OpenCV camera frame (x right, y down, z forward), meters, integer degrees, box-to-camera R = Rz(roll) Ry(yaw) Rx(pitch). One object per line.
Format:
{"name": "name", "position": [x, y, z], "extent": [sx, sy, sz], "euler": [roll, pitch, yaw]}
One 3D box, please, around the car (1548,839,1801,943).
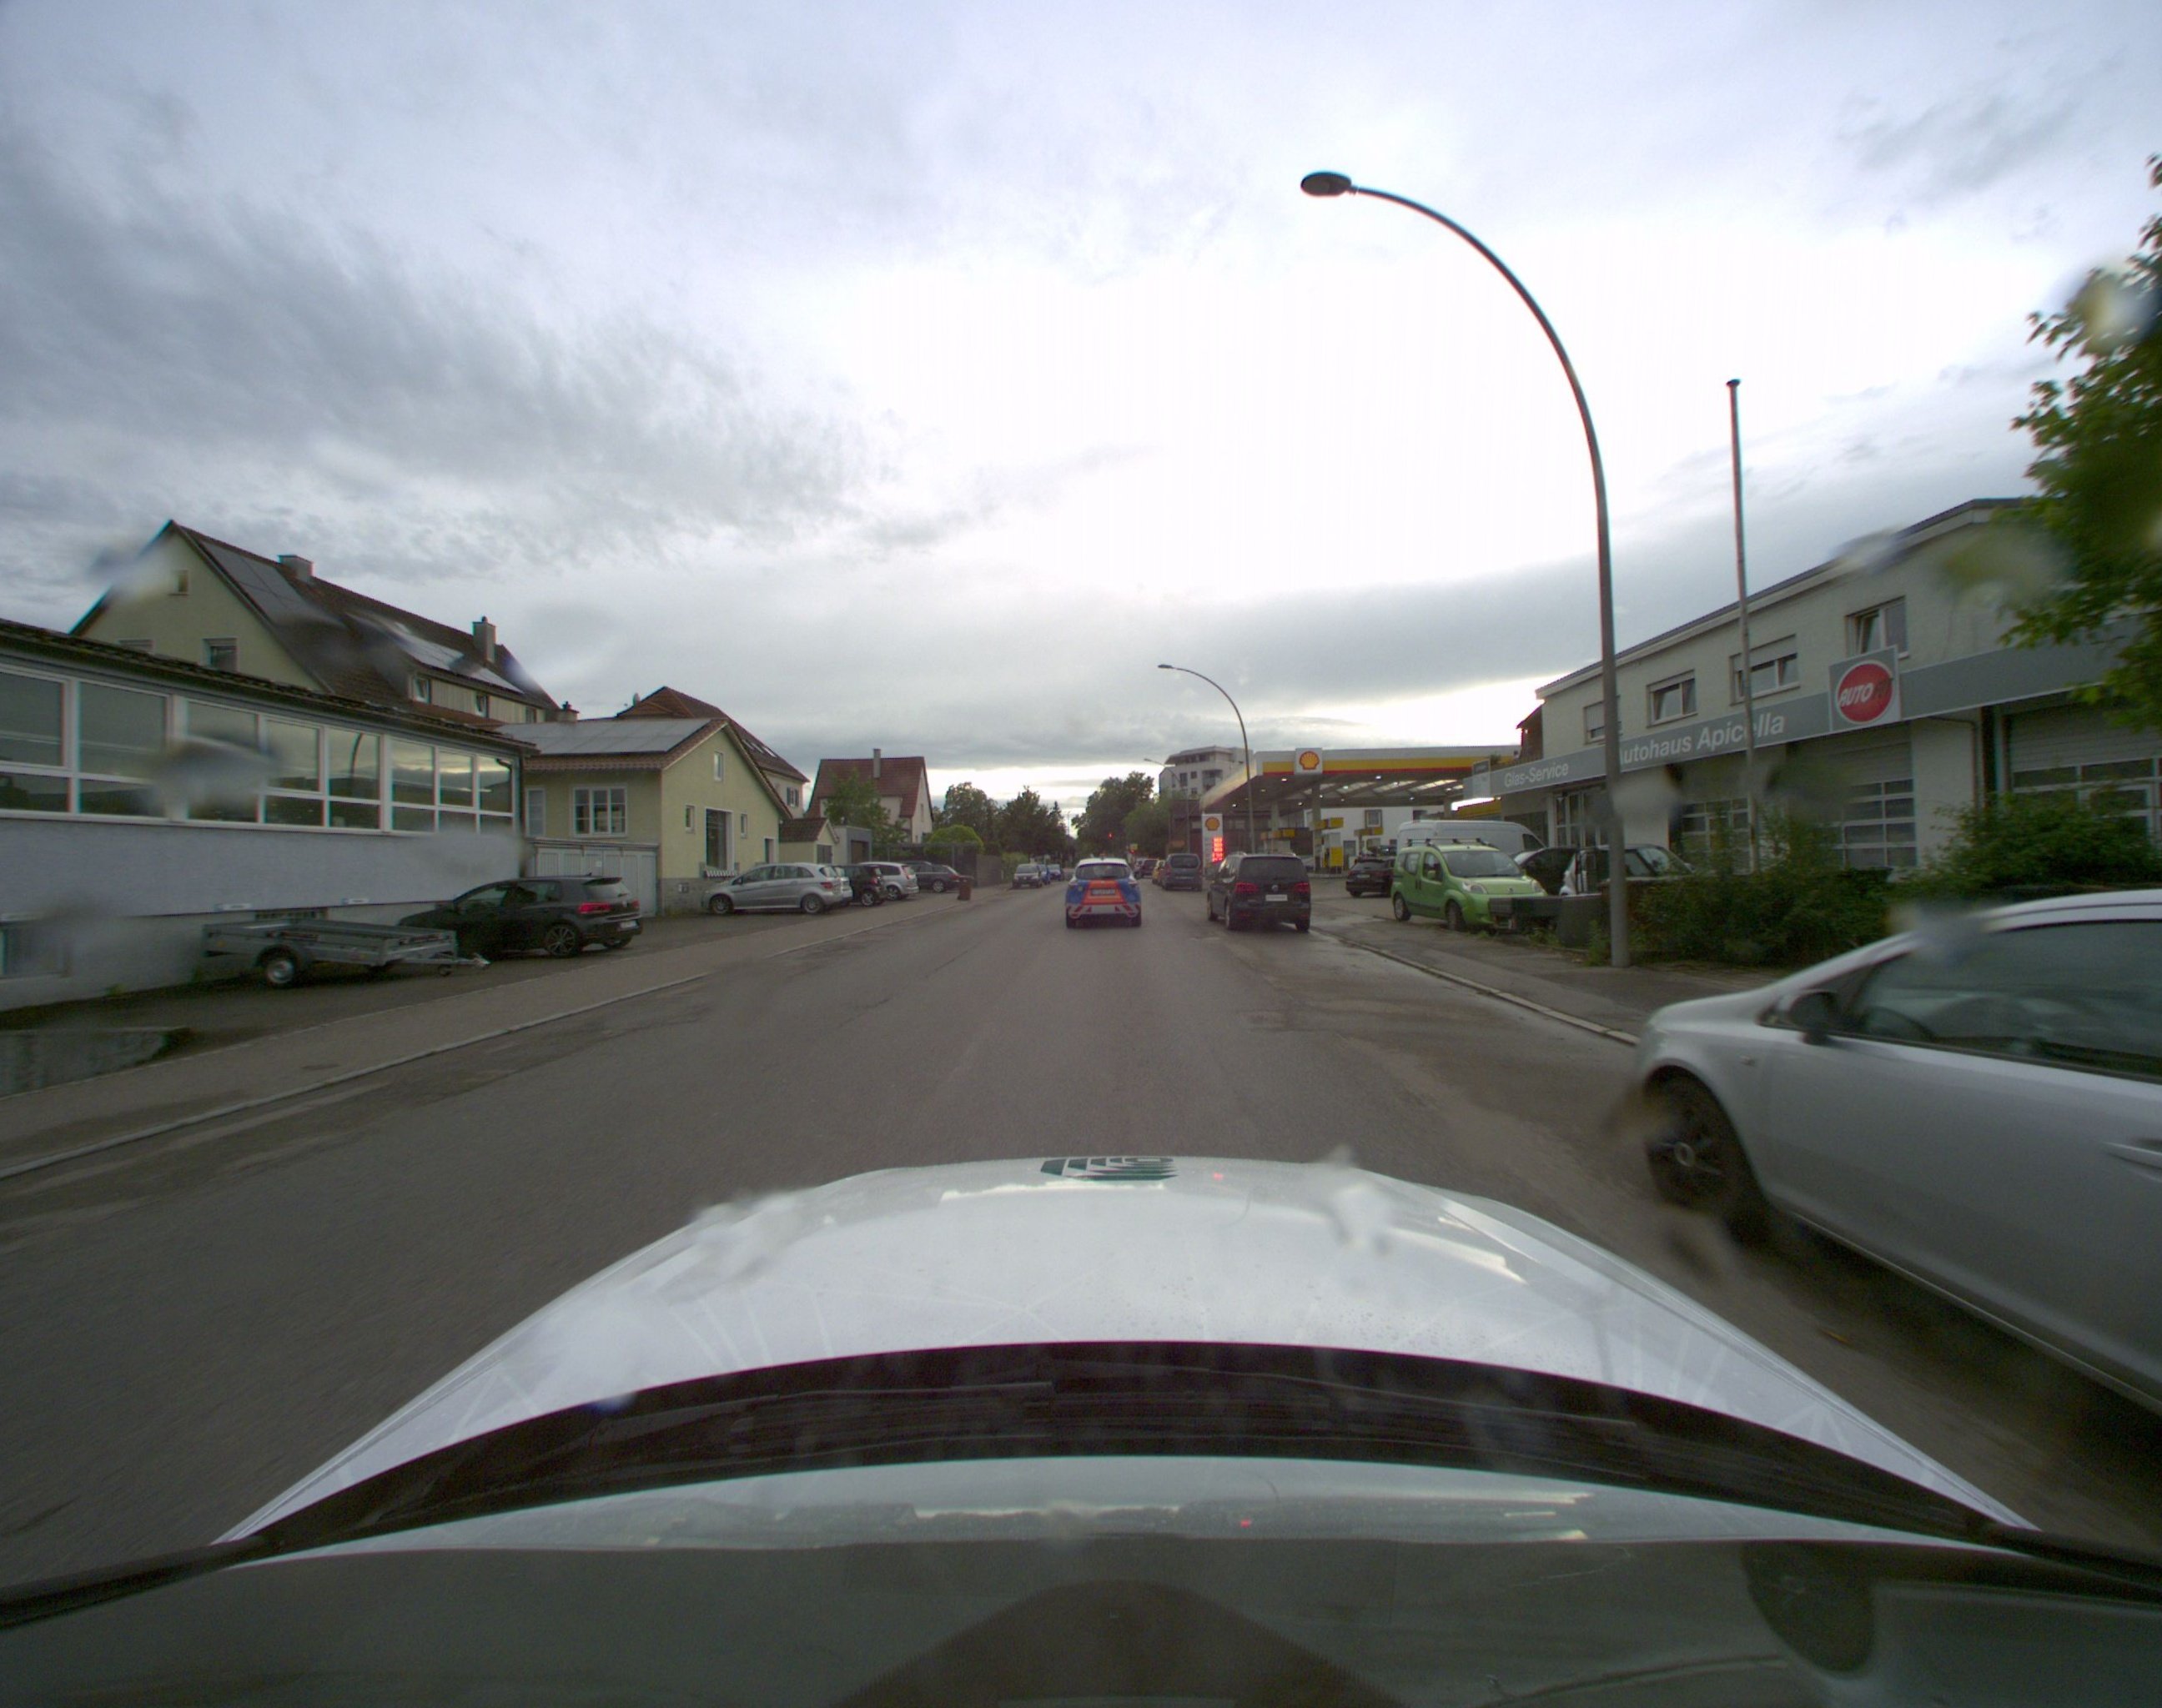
{"name": "car", "position": [10.524, 0.594, 14.828], "extent": [1.742, 1.519, 3.729], "euler": [-4, 0, -2]}

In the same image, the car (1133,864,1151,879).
{"name": "car", "position": [6.974, 1.954, 92.863], "extent": [1.858, 1.665, 4.322], "euler": [-1, -1, 2]}

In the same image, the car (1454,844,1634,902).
{"name": "car", "position": [13.703, 0.543, 24.288], "extent": [4.289, 1.573, 1.896], "euler": [-1, -1, -2]}

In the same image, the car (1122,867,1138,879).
{"name": "car", "position": [6.442, 2.502, 106.520], "extent": [1.789, 1.428, 3.998], "euler": [0, 0, -1]}

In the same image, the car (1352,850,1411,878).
{"name": "car", "position": [16.994, 0.559, 46.264], "extent": [1.733, 1.466, 4.675], "euler": [-1, -1, 2]}

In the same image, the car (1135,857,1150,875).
{"name": "car", "position": [7.465, 1.430, 99.050], "extent": [1.769, 2.029, 4.760], "euler": [0, 0, 5]}

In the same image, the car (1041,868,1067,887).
{"name": "car", "position": [-2.258, 1.980, 69.165], "extent": [1.799, 1.403, 3.947], "euler": [-3, -1, 2]}

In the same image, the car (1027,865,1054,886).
{"name": "car", "position": [-2.874, 1.554, 58.792], "extent": [1.539, 1.403, 3.599], "euler": [-3, -1, 2]}

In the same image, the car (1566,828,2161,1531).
{"name": "car", "position": [3.213, 0.704, 2.190], "extent": [1.730, 1.502, 3.885], "euler": [0, 0, 4]}

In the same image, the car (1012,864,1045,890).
{"name": "car", "position": [-3.235, 1.401, 50.801], "extent": [1.602, 1.506, 3.709], "euler": [-3, -1, 2]}

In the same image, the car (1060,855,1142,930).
{"name": "car", "position": [0.528, 0.856, 19.787], "extent": [1.739, 1.581, 4.002], "euler": [-2, 0, 2]}

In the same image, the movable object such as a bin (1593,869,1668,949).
{"name": "movable object such as a bin", "position": [7.759, 0.759, 11.518], "extent": [0.572, 1.075, 0.682], "euler": [-2, -1, 1]}

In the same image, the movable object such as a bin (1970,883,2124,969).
{"name": "movable object such as a bin", "position": [11.069, 0.807, 9.361], "extent": [0.855, 0.928, 0.759], "euler": [0, -1, 1]}

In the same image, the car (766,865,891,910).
{"name": "car", "position": [-9.246, 1.214, 30.078], "extent": [4.075, 1.503, 1.754], "euler": [-1, -1, -4]}

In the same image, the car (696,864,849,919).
{"name": "car", "position": [-9.664, 1.150, 25.830], "extent": [4.075, 1.533, 1.997], "euler": [-1, -1, -4]}

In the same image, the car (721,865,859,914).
{"name": "car", "position": [-9.959, 1.191, 28.103], "extent": [4.073, 1.533, 1.812], "euler": [-1, -1, -2]}

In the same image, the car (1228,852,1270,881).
{"name": "car", "position": [10.782, 0.820, 52.421], "extent": [1.814, 1.759, 3.999], "euler": [-2, -1, 0]}

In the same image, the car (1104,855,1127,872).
{"name": "car", "position": [3.194, 0.856, 74.707], "extent": [1.984, 1.574, 4.006], "euler": [0, 0, 5]}

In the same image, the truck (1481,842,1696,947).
{"name": "truck", "position": [7.893, 0.626, 12.851], "extent": [2.539, 1.530, 1.330], "euler": [-1, -1, 10]}

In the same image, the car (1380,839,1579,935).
{"name": "car", "position": [7.904, 0.608, 16.652], "extent": [1.988, 1.683, 3.997], "euler": [-1, 0, -2]}

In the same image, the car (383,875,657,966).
{"name": "car", "position": [-10.333, 1.189, 15.209], "extent": [3.860, 1.438, 1.768], "euler": [-2, 0, 1]}

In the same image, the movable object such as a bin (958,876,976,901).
{"name": "movable object such as a bin", "position": [-5.045, 1.527, 36.098], "extent": [0.593, 1.057, 0.687], "euler": [3, 1, 2]}

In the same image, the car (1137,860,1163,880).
{"name": "car", "position": [6.091, 1.412, 71.847], "extent": [2.083, 1.662, 4.561], "euler": [0, 0, 2]}

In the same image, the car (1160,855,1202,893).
{"name": "car", "position": [4.889, 0.973, 40.109], "extent": [1.650, 1.738, 4.446], "euler": [1, -1, 2]}

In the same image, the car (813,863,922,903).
{"name": "car", "position": [-8.829, 1.186, 33.966], "extent": [4.075, 1.514, 1.881], "euler": [-1, -1, -4]}

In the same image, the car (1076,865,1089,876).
{"name": "car", "position": [0.214, 2.297, 115.233], "extent": [1.619, 1.433, 3.687], "euler": [-2, -1, 4]}

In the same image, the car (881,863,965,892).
{"name": "car", "position": [-8.137, 1.214, 42.090], "extent": [4.077, 1.414, 1.711], "euler": [0, -1, -5]}

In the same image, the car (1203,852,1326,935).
{"name": "car", "position": [3.976, 0.798, 18.333], "extent": [1.986, 1.596, 4.002], "euler": [-2, 0, 2]}

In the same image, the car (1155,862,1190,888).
{"name": "car", "position": [5.155, 1.188, 46.169], "extent": [1.650, 1.376, 4.026], "euler": [-1, -1, 2]}

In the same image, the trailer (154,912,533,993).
{"name": "trailer", "position": [-11.211, 1.478, 12.616], "extent": [4.183, 0.943, 1.794], "euler": [-1, 0, -1]}

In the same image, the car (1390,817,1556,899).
{"name": "car", "position": [13.050, 0.107, 27.157], "extent": [4.804, 2.520, 2.232], "euler": [-1, -1, -20]}

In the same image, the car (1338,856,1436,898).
{"name": "car", "position": [11.106, 0.802, 29.426], "extent": [4.023, 1.375, 1.758], "euler": [-1, -1, -45]}

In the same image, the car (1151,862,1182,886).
{"name": "car", "position": [5.240, 1.222, 50.452], "extent": [1.650, 1.402, 3.803], "euler": [-1, -1, 2]}

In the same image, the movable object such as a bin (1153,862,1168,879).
{"name": "movable object such as a bin", "position": [6.648, 1.399, 68.414], "extent": [1.123, 1.388, 1.503], "euler": [-2, -1, 0]}
